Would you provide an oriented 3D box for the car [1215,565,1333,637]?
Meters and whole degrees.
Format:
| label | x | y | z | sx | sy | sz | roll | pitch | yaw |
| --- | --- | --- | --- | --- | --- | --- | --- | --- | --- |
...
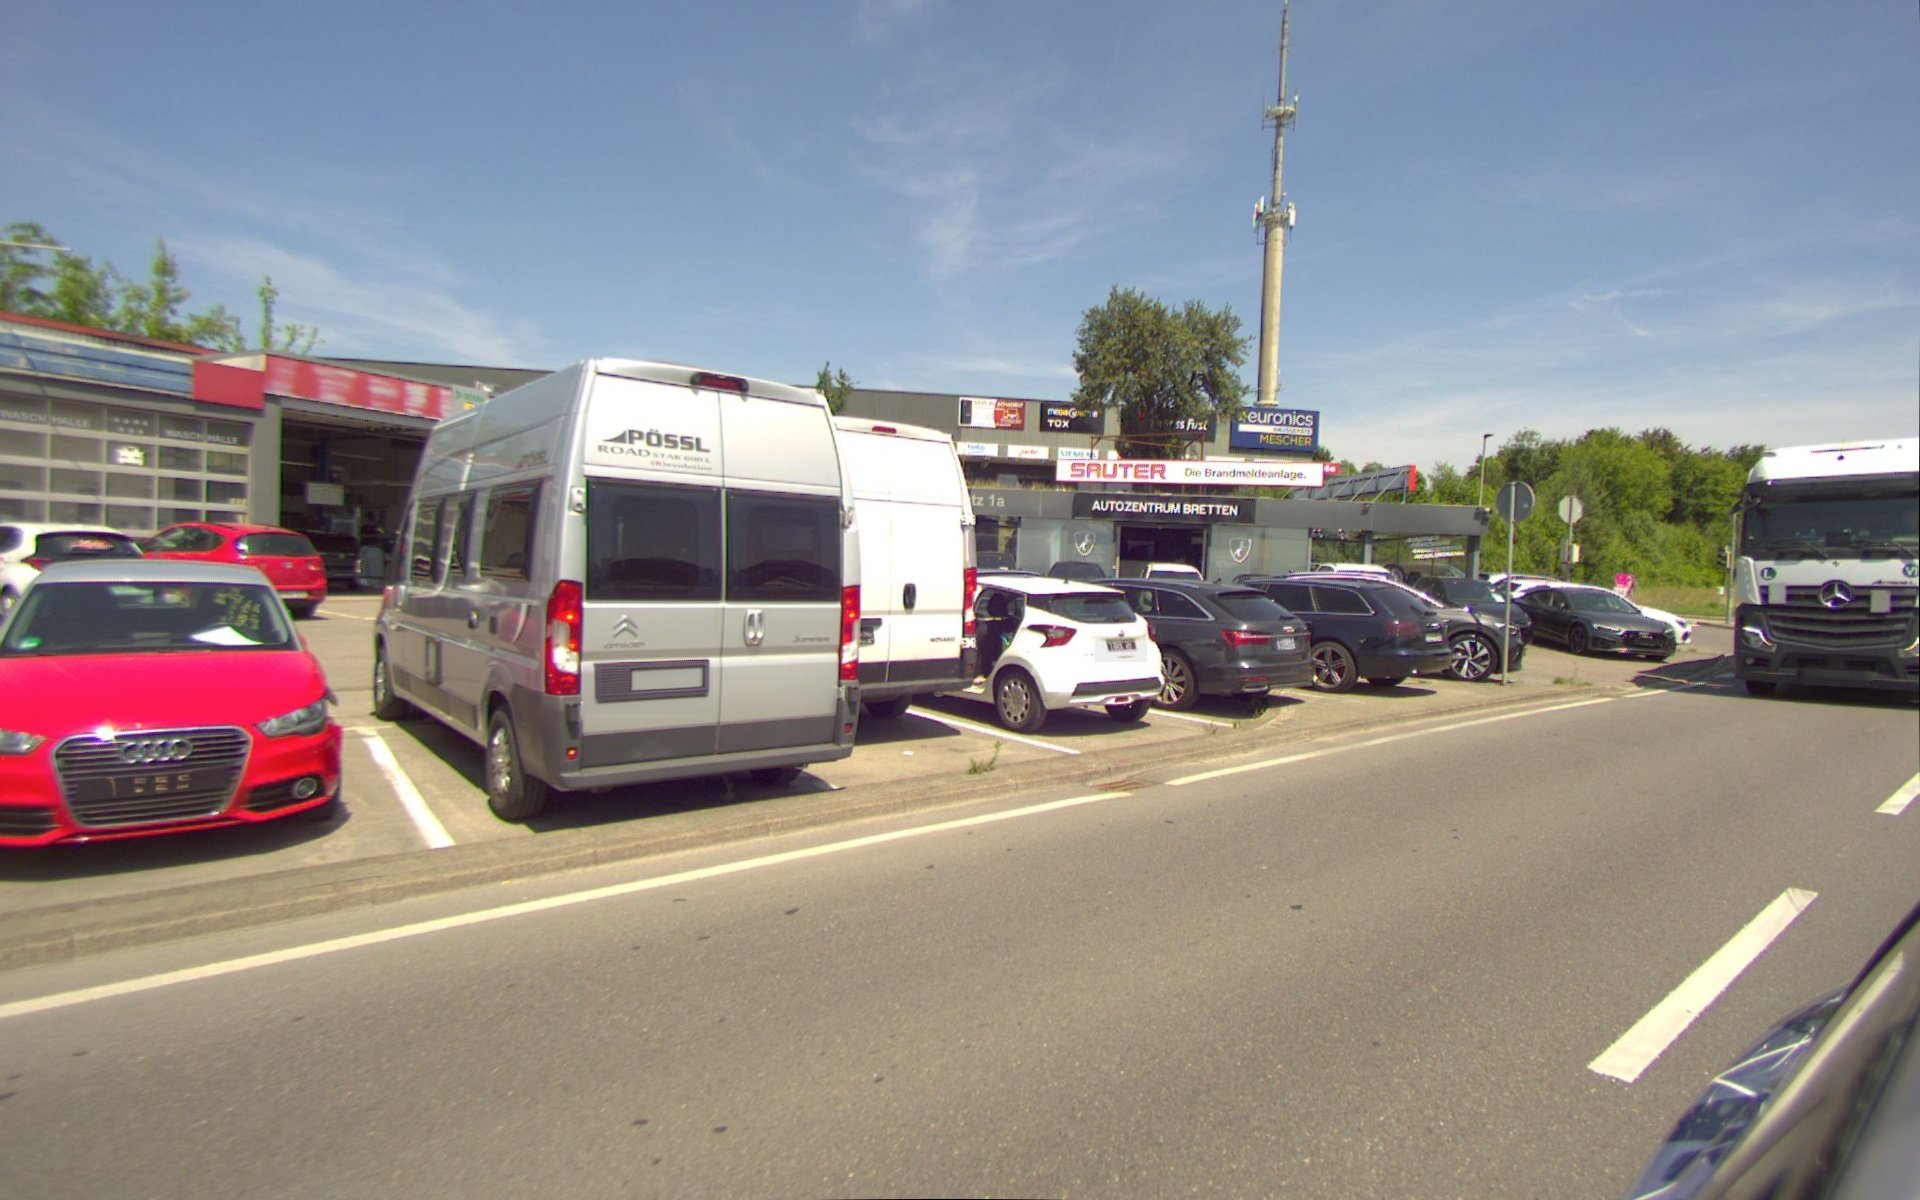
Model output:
| label | x | y | z | sx | sy | sz | roll | pitch | yaw |
| --- | --- | --- | --- | --- | --- | --- | --- | --- | --- |
| car | 7.621 | -0.046 | 24.968 | 1.821 | 1.326 | 4.148 | 3 | 5 | 4 |

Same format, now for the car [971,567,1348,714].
| label | x | y | z | sx | sy | sz | roll | pitch | yaw |
| --- | --- | --- | --- | --- | --- | --- | --- | --- | --- |
| car | 2.368 | 0.366 | 12.850 | 2.046 | 1.518 | 4.331 | 0 | 2 | -43 |

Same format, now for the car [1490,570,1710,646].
| label | x | y | z | sx | sy | sz | roll | pitch | yaw |
| --- | --- | --- | --- | --- | --- | --- | --- | --- | --- |
| car | 16.552 | 0.145 | 26.432 | 4.418 | 1.426 | 1.737 | 6 | 3 | 17 |

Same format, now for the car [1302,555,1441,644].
| label | x | y | z | sx | sy | sz | roll | pitch | yaw |
| --- | --- | --- | --- | --- | --- | --- | --- | --- | --- |
| car | 9.807 | -0.095 | 24.509 | 1.821 | 1.734 | 4.148 | 3 | 5 | 4 |

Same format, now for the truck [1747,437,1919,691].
| label | x | y | z | sx | sy | sz | roll | pitch | yaw |
| --- | --- | --- | --- | --- | --- | --- | --- | --- | --- |
| truck | 19.887 | -0.655 | 21.470 | 13.891 | 4.058 | 2.977 | 0 | 4 | -44 |

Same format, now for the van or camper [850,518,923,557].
| label | x | y | z | sx | sy | sz | roll | pitch | yaw |
| --- | --- | --- | --- | --- | --- | --- | --- | --- | --- |
| van or camper | -2.829 | -2.428 | 39.854 | 1.828 | 1.374 | 3.986 | 1 | 1 | 12 |

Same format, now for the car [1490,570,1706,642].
| label | x | y | z | sx | sy | sz | roll | pitch | yaw |
| --- | --- | --- | --- | --- | --- | --- | --- | --- | --- |
| car | 17.992 | 0.116 | 28.780 | 4.663 | 1.571 | 1.996 | 5 | 3 | 9 |

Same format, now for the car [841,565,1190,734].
| label | x | y | z | sx | sy | sz | roll | pitch | yaw |
| --- | --- | --- | --- | --- | --- | --- | --- | --- | --- |
| car | 0.449 | 0.394 | 11.192 | 1.820 | 1.518 | 3.820 | 0 | 1 | -37 |

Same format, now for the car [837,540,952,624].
| label | x | y | z | sx | sy | sz | roll | pitch | yaw |
| --- | --- | --- | --- | --- | --- | --- | --- | --- | --- |
| car | -1.568 | -0.550 | 25.781 | 1.938 | 1.809 | 4.139 | 3 | 5 | 10 |

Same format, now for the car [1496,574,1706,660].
| label | x | y | z | sx | sy | sz | roll | pitch | yaw |
| --- | --- | --- | --- | --- | --- | --- | --- | --- | --- |
| car | 14.550 | 0.289 | 23.405 | 1.893 | 1.403 | 4.934 | 3 | 5 | 4 |

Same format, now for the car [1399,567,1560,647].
| label | x | y | z | sx | sy | sz | roll | pitch | yaw |
| --- | --- | --- | --- | --- | --- | --- | --- | --- | --- |
| car | 12.197 | 0.080 | 24.095 | 1.821 | 1.436 | 4.165 | 3 | 5 | 4 |

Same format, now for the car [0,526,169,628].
| label | x | y | z | sx | sy | sz | roll | pitch | yaw |
| --- | --- | --- | --- | --- | --- | --- | --- | --- | --- |
| car | -13.920 | -0.336 | 15.288 | 3.560 | 1.391 | 1.664 | 1 | 0 | 24 |

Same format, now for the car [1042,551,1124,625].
| label | x | y | z | sx | sy | sz | roll | pitch | yaw |
| --- | --- | --- | --- | --- | --- | --- | --- | --- | --- |
| car | 3.043 | -0.385 | 25.779 | 1.821 | 1.515 | 4.148 | 3 | 5 | 4 |

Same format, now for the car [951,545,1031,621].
| label | x | y | z | sx | sy | sz | roll | pitch | yaw |
| --- | --- | --- | --- | --- | --- | --- | --- | --- | --- |
| car | 0.881 | -0.515 | 26.101 | 1.821 | 1.586 | 4.148 | 3 | 5 | 4 |

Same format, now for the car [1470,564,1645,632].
| label | x | y | z | sx | sy | sz | roll | pitch | yaw |
| --- | --- | --- | --- | --- | --- | --- | --- | --- | --- |
| car | 18.248 | -0.116 | 31.112 | 4.111 | 1.712 | 1.879 | 4 | 3 | 12 |

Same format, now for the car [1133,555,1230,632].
| label | x | y | z | sx | sy | sz | roll | pitch | yaw |
| --- | --- | --- | --- | --- | --- | --- | --- | --- | --- |
| car | 5.323 | -0.235 | 24.810 | 1.702 | 1.501 | 3.940 | 3 | 5 | 4 |

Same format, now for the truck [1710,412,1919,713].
| label | x | y | z | sx | sy | sz | roll | pitch | yaw |
| --- | --- | --- | --- | --- | --- | --- | --- | --- | --- |
| truck | 14.717 | -0.577 | 16.388 | 6.223 | 4.058 | 2.977 | 0 | 4 | -44 |

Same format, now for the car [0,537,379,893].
| label | x | y | z | sx | sy | sz | roll | pitch | yaw |
| --- | --- | --- | --- | --- | --- | --- | --- | --- | --- |
| car | -4.847 | 0.425 | 6.137 | 1.725 | 1.512 | 3.550 | 0 | 3 | -39 |

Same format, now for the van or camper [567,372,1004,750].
| label | x | y | z | sx | sy | sz | roll | pitch | yaw |
| --- | --- | --- | --- | --- | --- | --- | --- | --- | --- |
| van or camper | -2.153 | -0.408 | 10.679 | 2.192 | 2.941 | 5.383 | 0 | 2 | -39 |

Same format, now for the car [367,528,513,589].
| label | x | y | z | sx | sy | sz | roll | pitch | yaw |
| --- | --- | --- | --- | --- | --- | --- | --- | --- | --- |
| car | -14.947 | -1.203 | 29.055 | 3.966 | 1.638 | 1.894 | 2 | 2 | 30 |

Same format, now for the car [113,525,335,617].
| label | x | y | z | sx | sy | sz | roll | pitch | yaw |
| --- | --- | --- | --- | --- | --- | --- | --- | --- | --- |
| car | -12.793 | -0.522 | 17.586 | 3.564 | 1.467 | 1.663 | 1 | 3 | 27 |

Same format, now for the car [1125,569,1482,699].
| label | x | y | z | sx | sy | sz | roll | pitch | yaw |
| --- | --- | --- | --- | --- | --- | --- | --- | --- | --- |
| car | 4.709 | 0.348 | 14.334 | 2.046 | 1.518 | 4.331 | 0 | 2 | -43 |

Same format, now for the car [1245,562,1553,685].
| label | x | y | z | sx | sy | sz | roll | pitch | yaw |
| --- | --- | --- | --- | --- | --- | --- | --- | --- | --- |
| car | 7.004 | 0.285 | 16.534 | 4.290 | 1.644 | 2.047 | 3 | 2 | 22 |

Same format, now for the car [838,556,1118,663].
| label | x | y | z | sx | sy | sz | roll | pitch | yaw |
| --- | --- | --- | --- | --- | --- | --- | --- | --- | --- |
| car | 0.330 | 0.124 | 16.836 | 4.294 | 1.546 | 1.818 | 0 | 3 | -30 |

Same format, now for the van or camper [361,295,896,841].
| label | x | y | z | sx | sy | sz | roll | pitch | yaw |
| --- | --- | --- | --- | --- | --- | --- | --- | --- | --- |
| van or camper | -2.999 | -0.262 | 7.962 | 2.192 | 2.763 | 5.490 | 0 | 2 | -39 |
